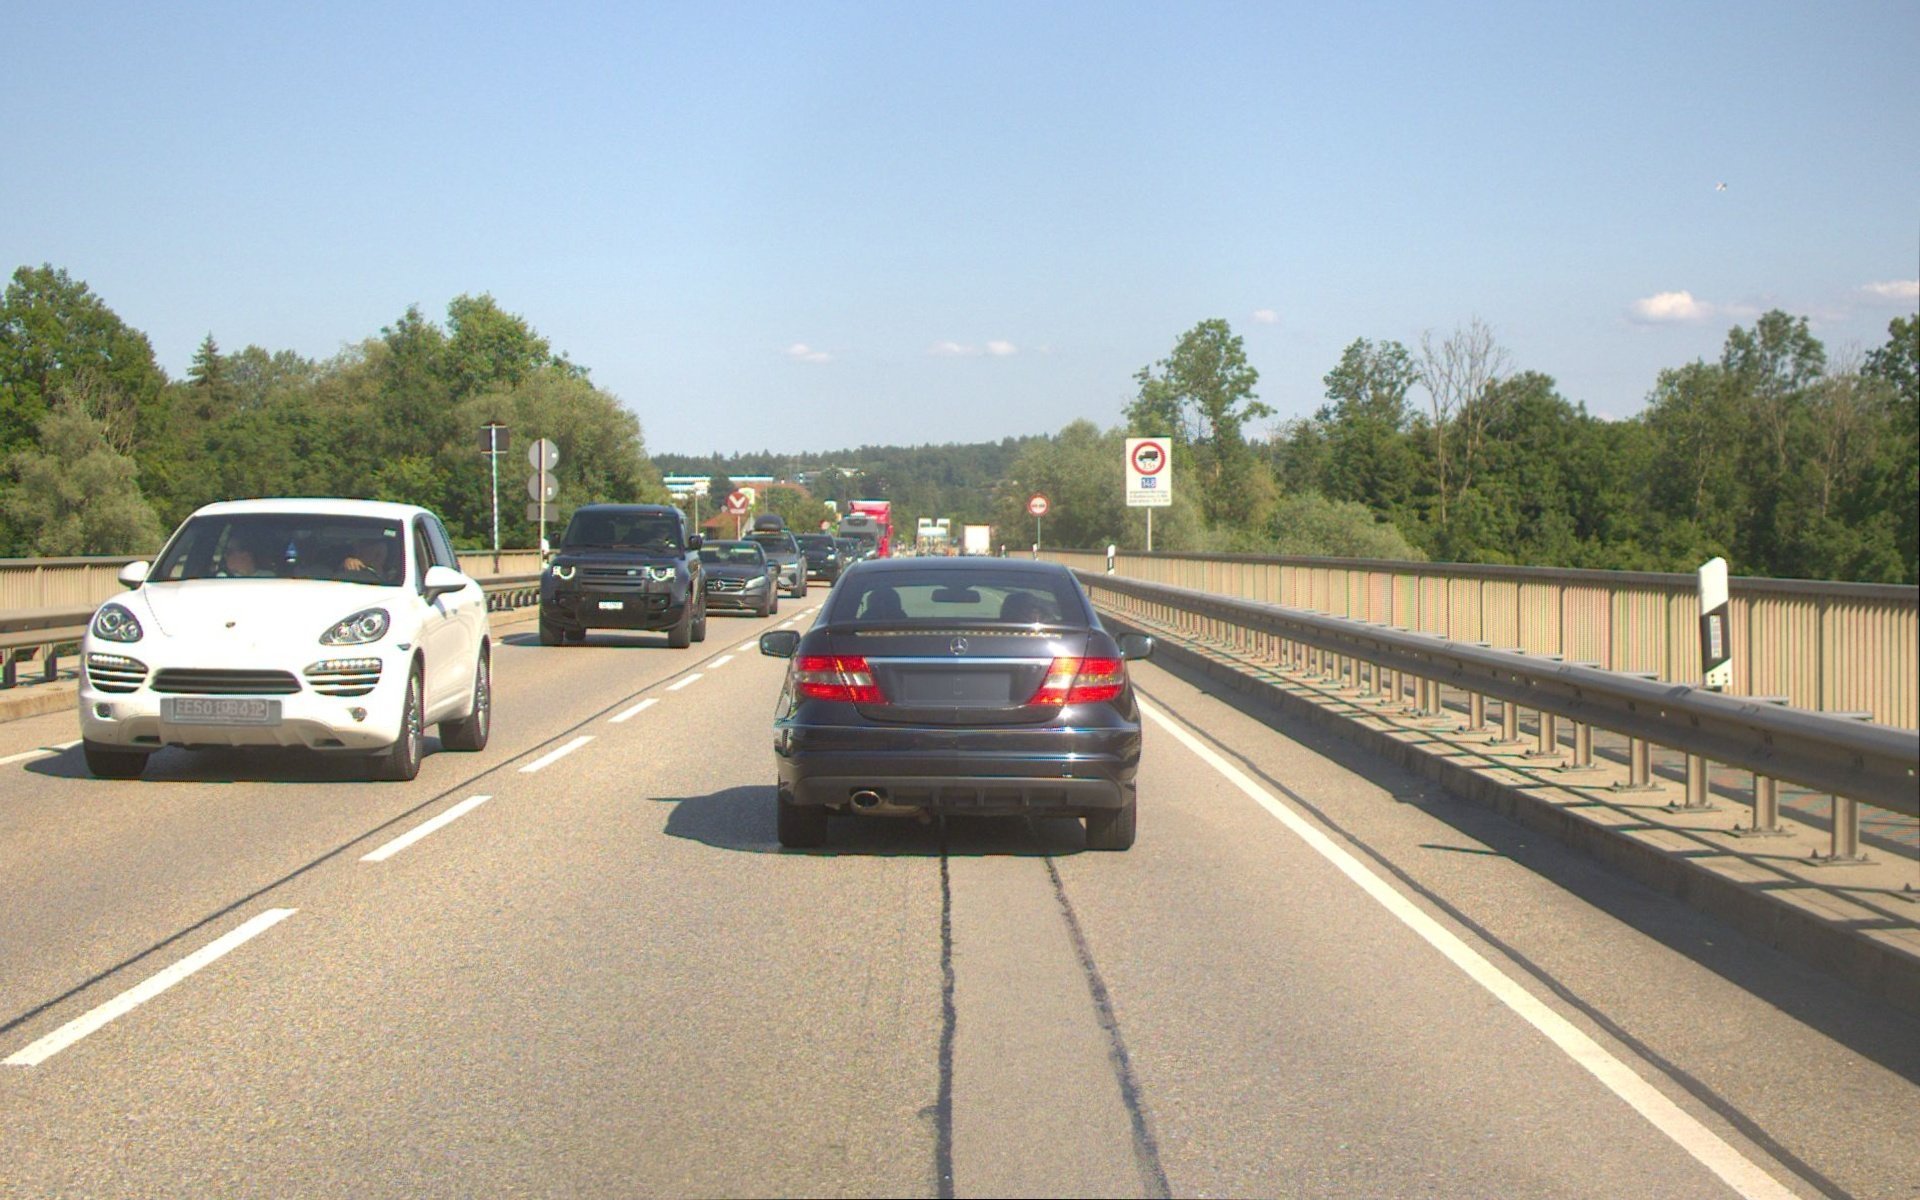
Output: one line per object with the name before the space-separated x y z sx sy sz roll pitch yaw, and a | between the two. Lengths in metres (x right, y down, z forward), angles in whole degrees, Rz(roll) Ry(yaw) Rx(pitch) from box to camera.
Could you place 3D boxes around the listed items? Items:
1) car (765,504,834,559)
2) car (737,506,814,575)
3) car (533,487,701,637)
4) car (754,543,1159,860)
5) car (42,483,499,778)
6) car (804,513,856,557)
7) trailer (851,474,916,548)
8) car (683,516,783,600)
car | -5.183 -2.233 110.682 2.053 1.647 4.722 2 2 -4
car | -4.680 -1.538 87.843 1.854 1.716 4.566 0 1 -2
car | -4.619 -0.571 46.929 2.037 1.867 5.071 2 2 -4
car | -0.025 0.418 17.313 1.793 1.371 4.000 0 1 0
car | -4.197 0.117 21.689 1.983 1.645 4.598 0 1 0
car | -4.837 -2.427 127.323 1.806 1.572 4.202 0 1 -4
trailer | -4.700 -5.373 208.369 2.907 4.287 14.305 0 1 -5
car | -4.306 -0.829 65.200 1.765 1.442 4.457 2 2 -4
